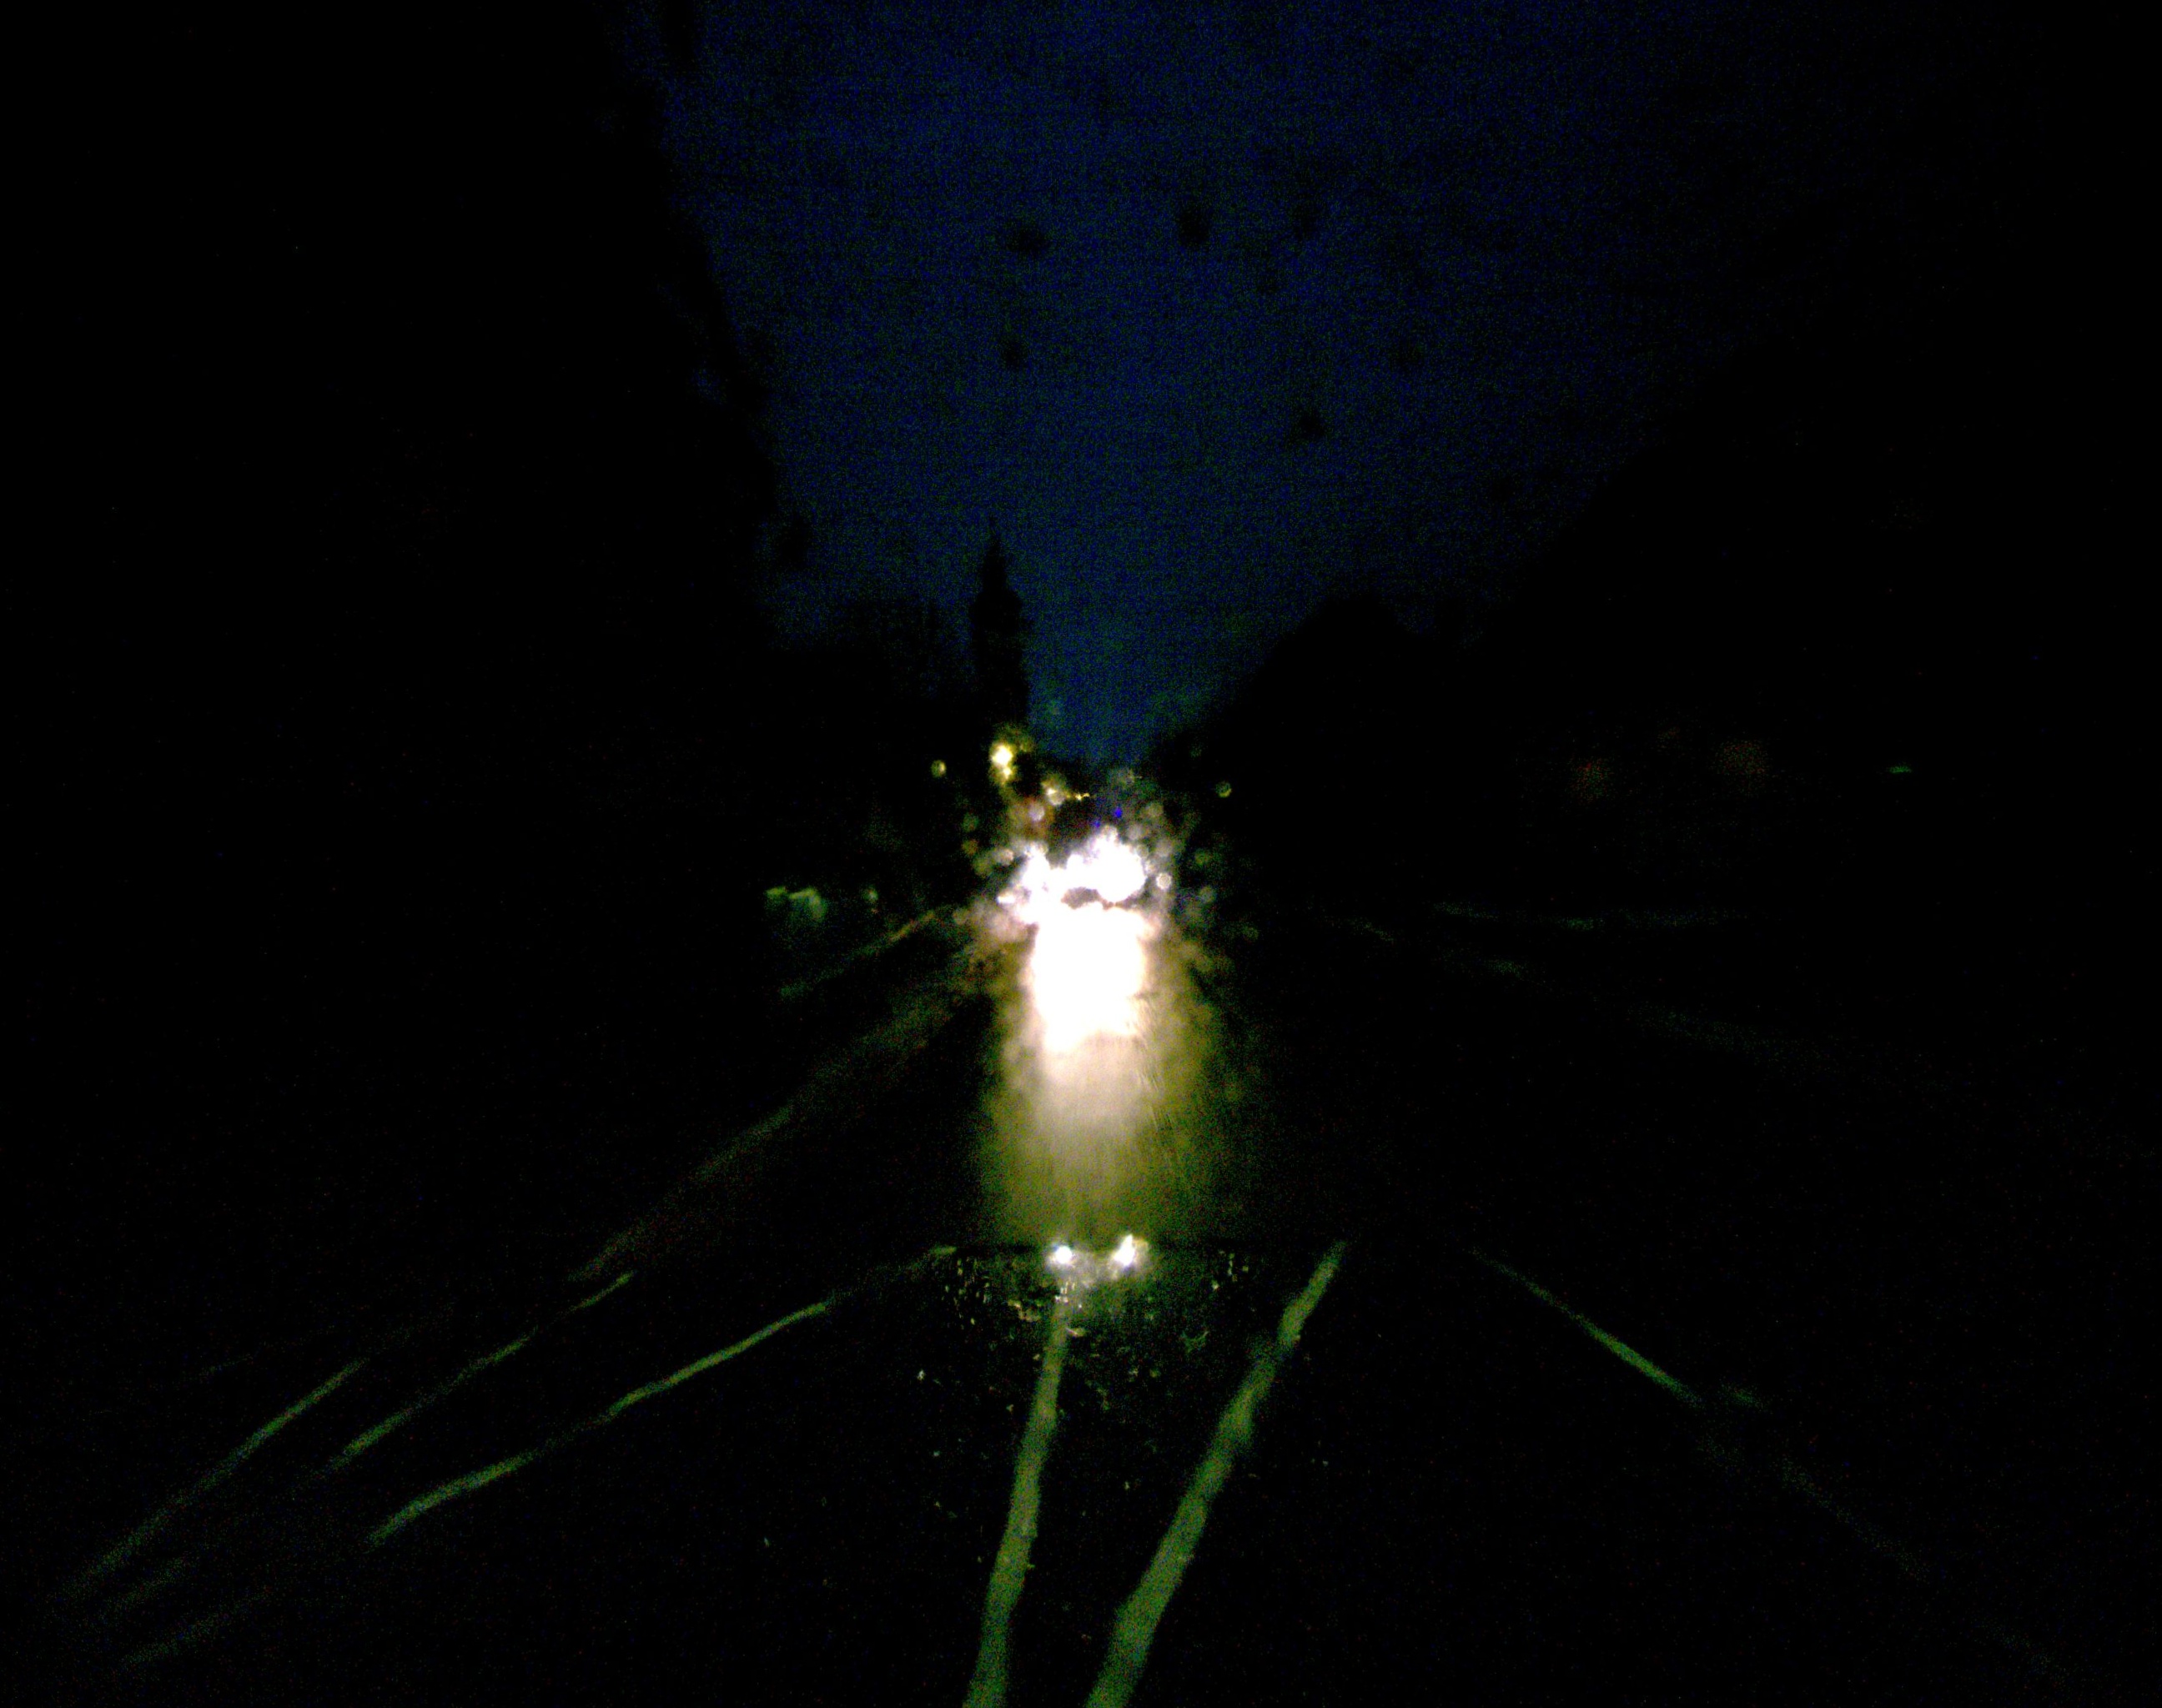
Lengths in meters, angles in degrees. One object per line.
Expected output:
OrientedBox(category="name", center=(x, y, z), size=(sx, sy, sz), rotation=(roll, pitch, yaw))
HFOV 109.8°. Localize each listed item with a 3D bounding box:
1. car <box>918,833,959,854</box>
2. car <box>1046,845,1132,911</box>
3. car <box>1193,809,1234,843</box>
OrientedBox(category="car", center=(-10.307, -0.734, 54.804), size=(1.758, 1.405, 4.072), rotation=(-3, 2, -27))
OrientedBox(category="car", center=(0.118, 0.525, 20.342), size=(1.999, 1.374, 4.931), rotation=(-2, 2, -2))
OrientedBox(category="car", center=(9.003, -1.933, 51.882), size=(1.998, 2.026, 4.080), rotation=(-7, 3, 2))
